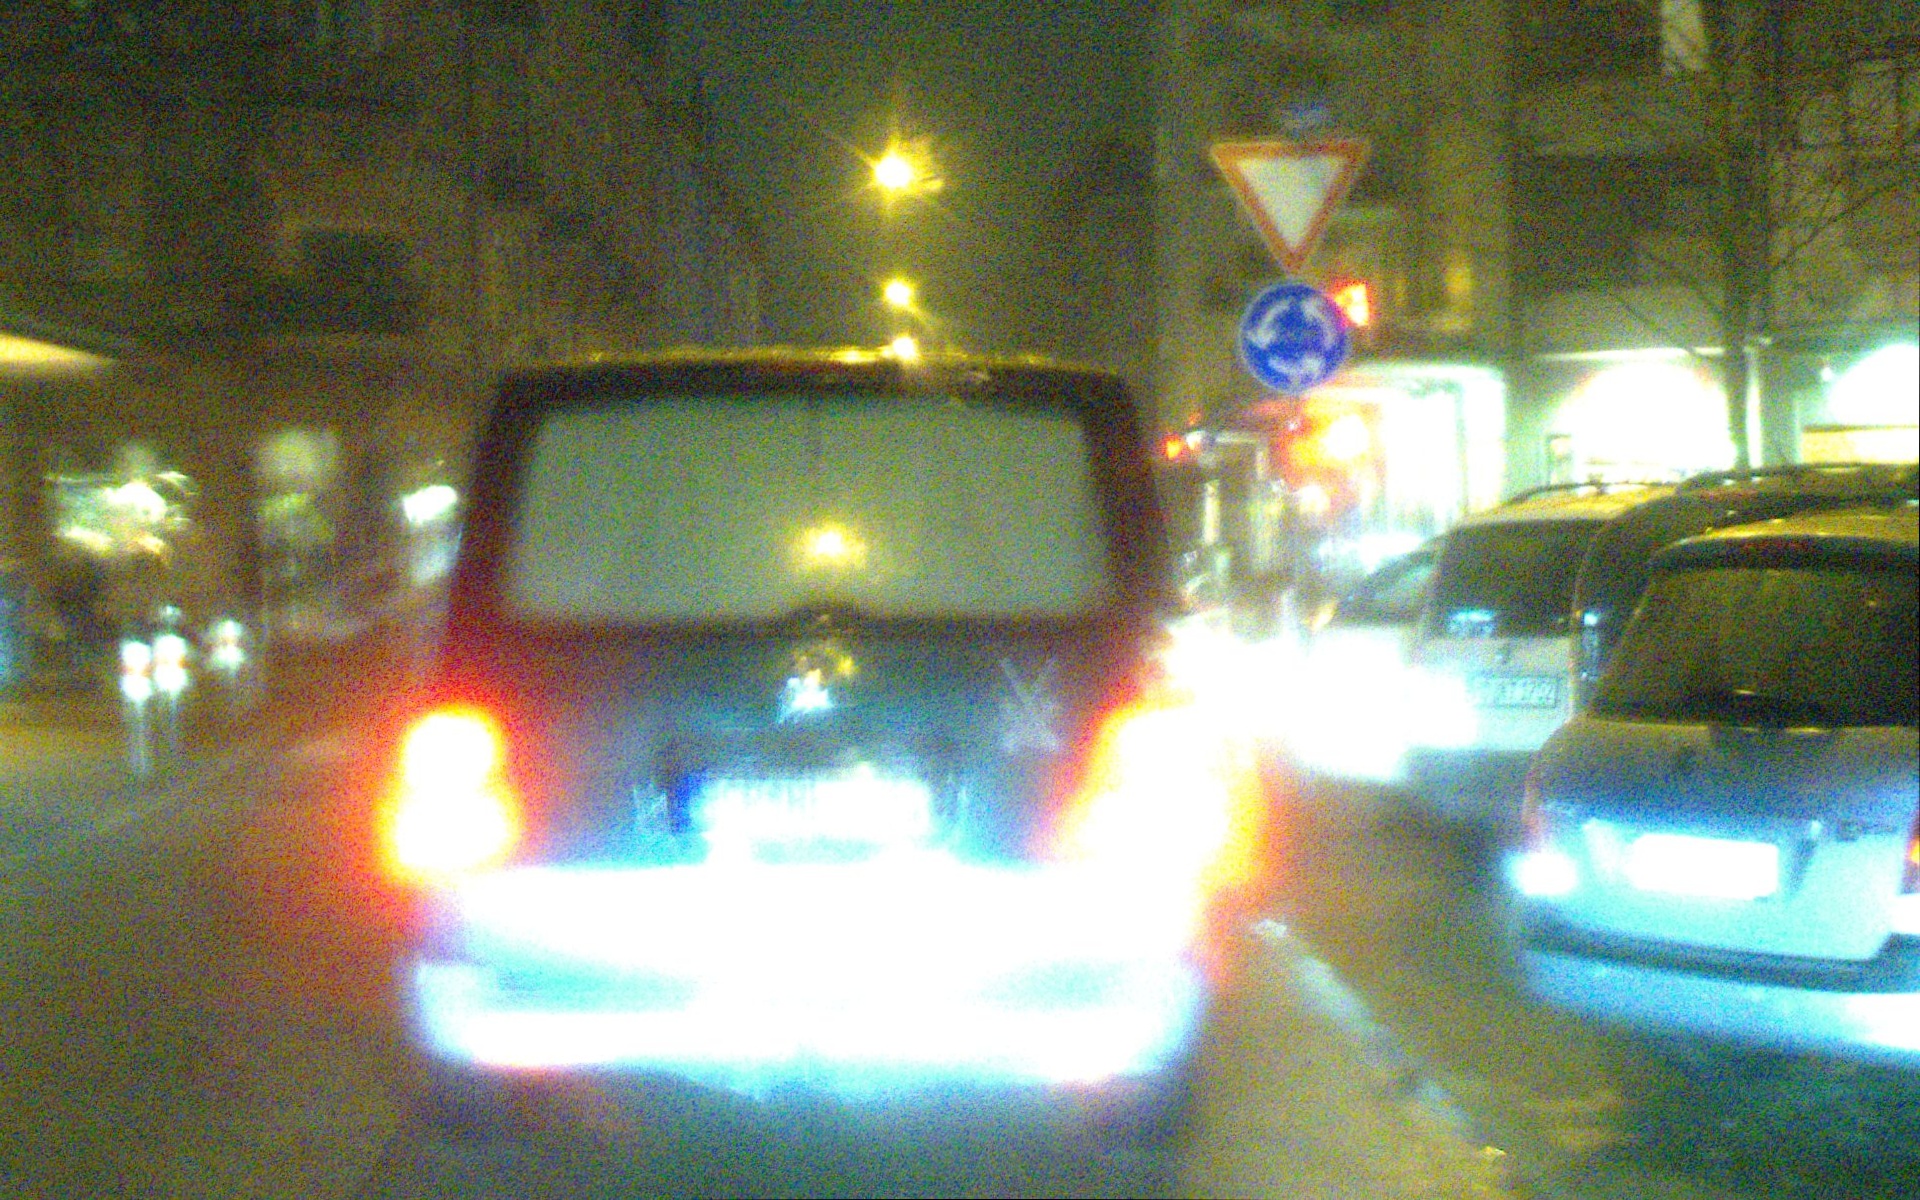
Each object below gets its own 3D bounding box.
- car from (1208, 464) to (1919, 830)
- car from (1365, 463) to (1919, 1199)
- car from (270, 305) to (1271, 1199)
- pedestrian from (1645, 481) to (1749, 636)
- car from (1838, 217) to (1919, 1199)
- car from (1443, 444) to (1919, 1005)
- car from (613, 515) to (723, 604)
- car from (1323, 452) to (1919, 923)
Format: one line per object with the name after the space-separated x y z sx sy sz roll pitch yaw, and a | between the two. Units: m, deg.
3.568 0.159 17.530 4.249 1.568 1.772 -4 1 -29 | car
3.250 0.402 9.167 4.060 1.592 1.834 -4 2 -35 | car
-0.425 0.329 9.656 2.122 1.984 4.601 -1 1 -1 | car
8.845 -0.497 41.228 0.878 1.827 0.982 -1 1 35 | pedestrian
3.572 0.259 6.326 3.729 2.021 1.721 -4 2 -36 | car
3.760 0.294 12.309 3.782 1.706 1.748 -4 2 -35 | car
-5.129 -0.736 60.778 1.586 1.458 4.024 2 1 0 | car
3.572 0.258 14.585 3.729 1.706 1.771 -4 2 -35 | car
